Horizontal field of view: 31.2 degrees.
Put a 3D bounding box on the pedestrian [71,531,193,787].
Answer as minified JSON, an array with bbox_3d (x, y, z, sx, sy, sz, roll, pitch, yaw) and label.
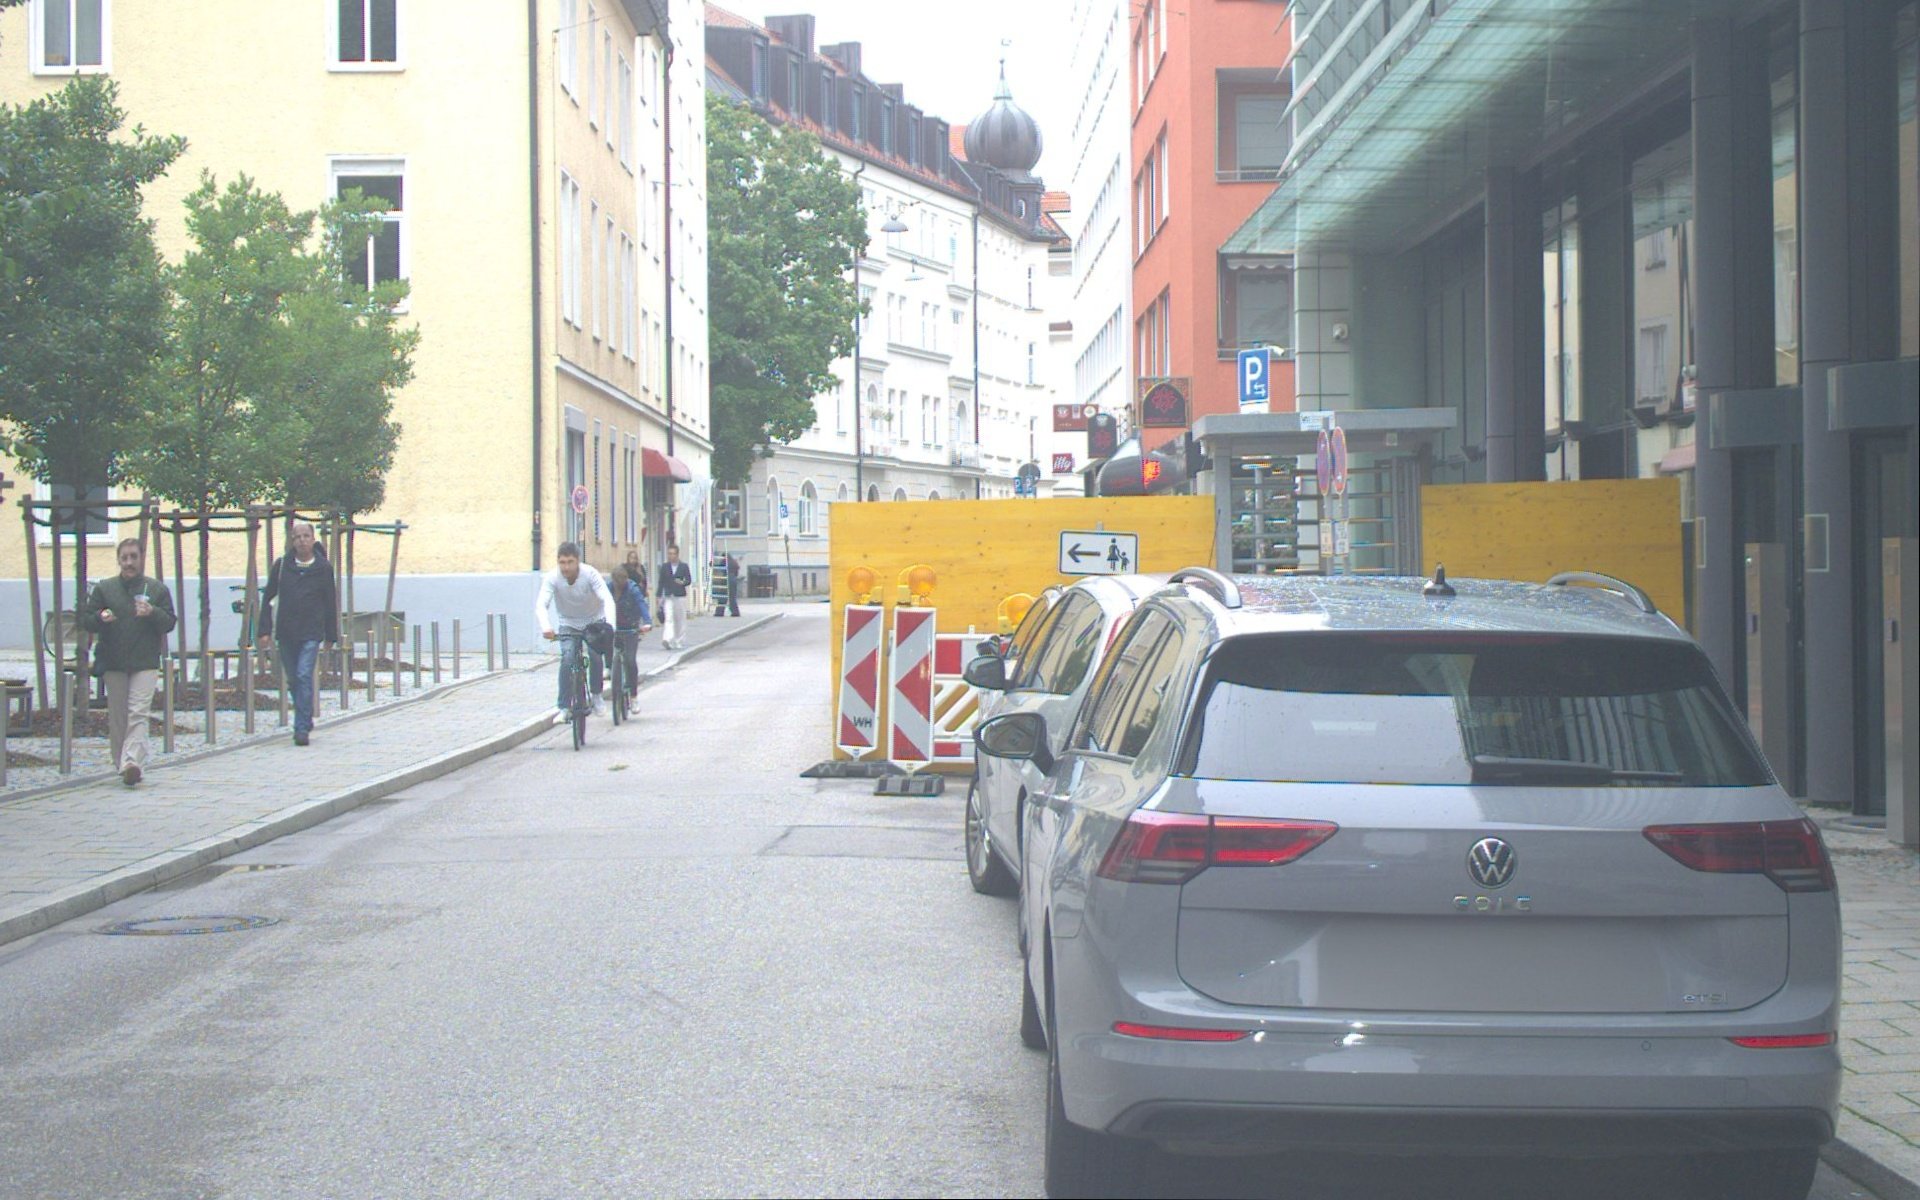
[{"bbox_3d":[-5.496,0.382,22.833,0.647,1.671,0.724,0,0,-2],"label":"pedestrian"}]

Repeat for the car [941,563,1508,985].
[{"bbox_3d":[0.927,0.601,14.229,1.707,1.462,4.238,1,0,-4],"label":"car"}]

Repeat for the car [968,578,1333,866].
[{"bbox_3d":[0.955,0.594,19.389,1.708,1.409,4.510,1,0,-1],"label":"car"}]

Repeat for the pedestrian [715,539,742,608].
[{"bbox_3d":[-5.665,-0.647,84.204,0.634,1.669,0.517,0,1,-1],"label":"pedestrian"}]

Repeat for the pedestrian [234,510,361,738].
[{"bbox_3d":[-5.559,0.193,28.912,0.867,1.875,1.135,0,0,-2],"label":"pedestrian"}]

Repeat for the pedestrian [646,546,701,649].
[{"bbox_3d":[-4.735,-0.042,56.839,0.839,1.695,0.803,0,0,-1],"label":"pedestrian"}]

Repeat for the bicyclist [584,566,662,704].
[{"bbox_3d":[-3.423,0.348,34.995,0.707,1.366,0.813,-1,1,-1],"label":"bicyclist"}]

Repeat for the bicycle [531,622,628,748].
[{"bbox_3d":[-3.370,0.735,30.552,0.661,1.035,2.005,-1,1,-1],"label":"bicycle"}]

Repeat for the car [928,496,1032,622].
[{"bbox_3d":[0.373,-0.856,71.504,1.993,2.528,4.975,0,1,-1],"label":"car"}]

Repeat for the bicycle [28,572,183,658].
[{"bbox_3d":[-12.014,0.203,48.327,2.044,1.193,0.570,0,1,7],"label":"bicycle"}]

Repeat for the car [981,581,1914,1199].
[{"bbox_3d":[0.977,0.678,8.934,1.708,1.427,4.330,0,1,-1],"label":"car"}]

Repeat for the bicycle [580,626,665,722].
[{"bbox_3d":[-3.420,0.741,34.938,0.707,0.902,1.809,-1,1,-1],"label":"bicycle"}]

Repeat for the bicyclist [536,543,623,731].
[{"bbox_3d":[-3.387,0.321,30.645,0.659,1.637,0.895,-1,1,-1],"label":"bicyclist"}]

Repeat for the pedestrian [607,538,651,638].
[{"bbox_3d":[-5.498,-0.207,57.080,0.670,1.642,0.761,0,0,-1],"label":"pedestrian"}]
